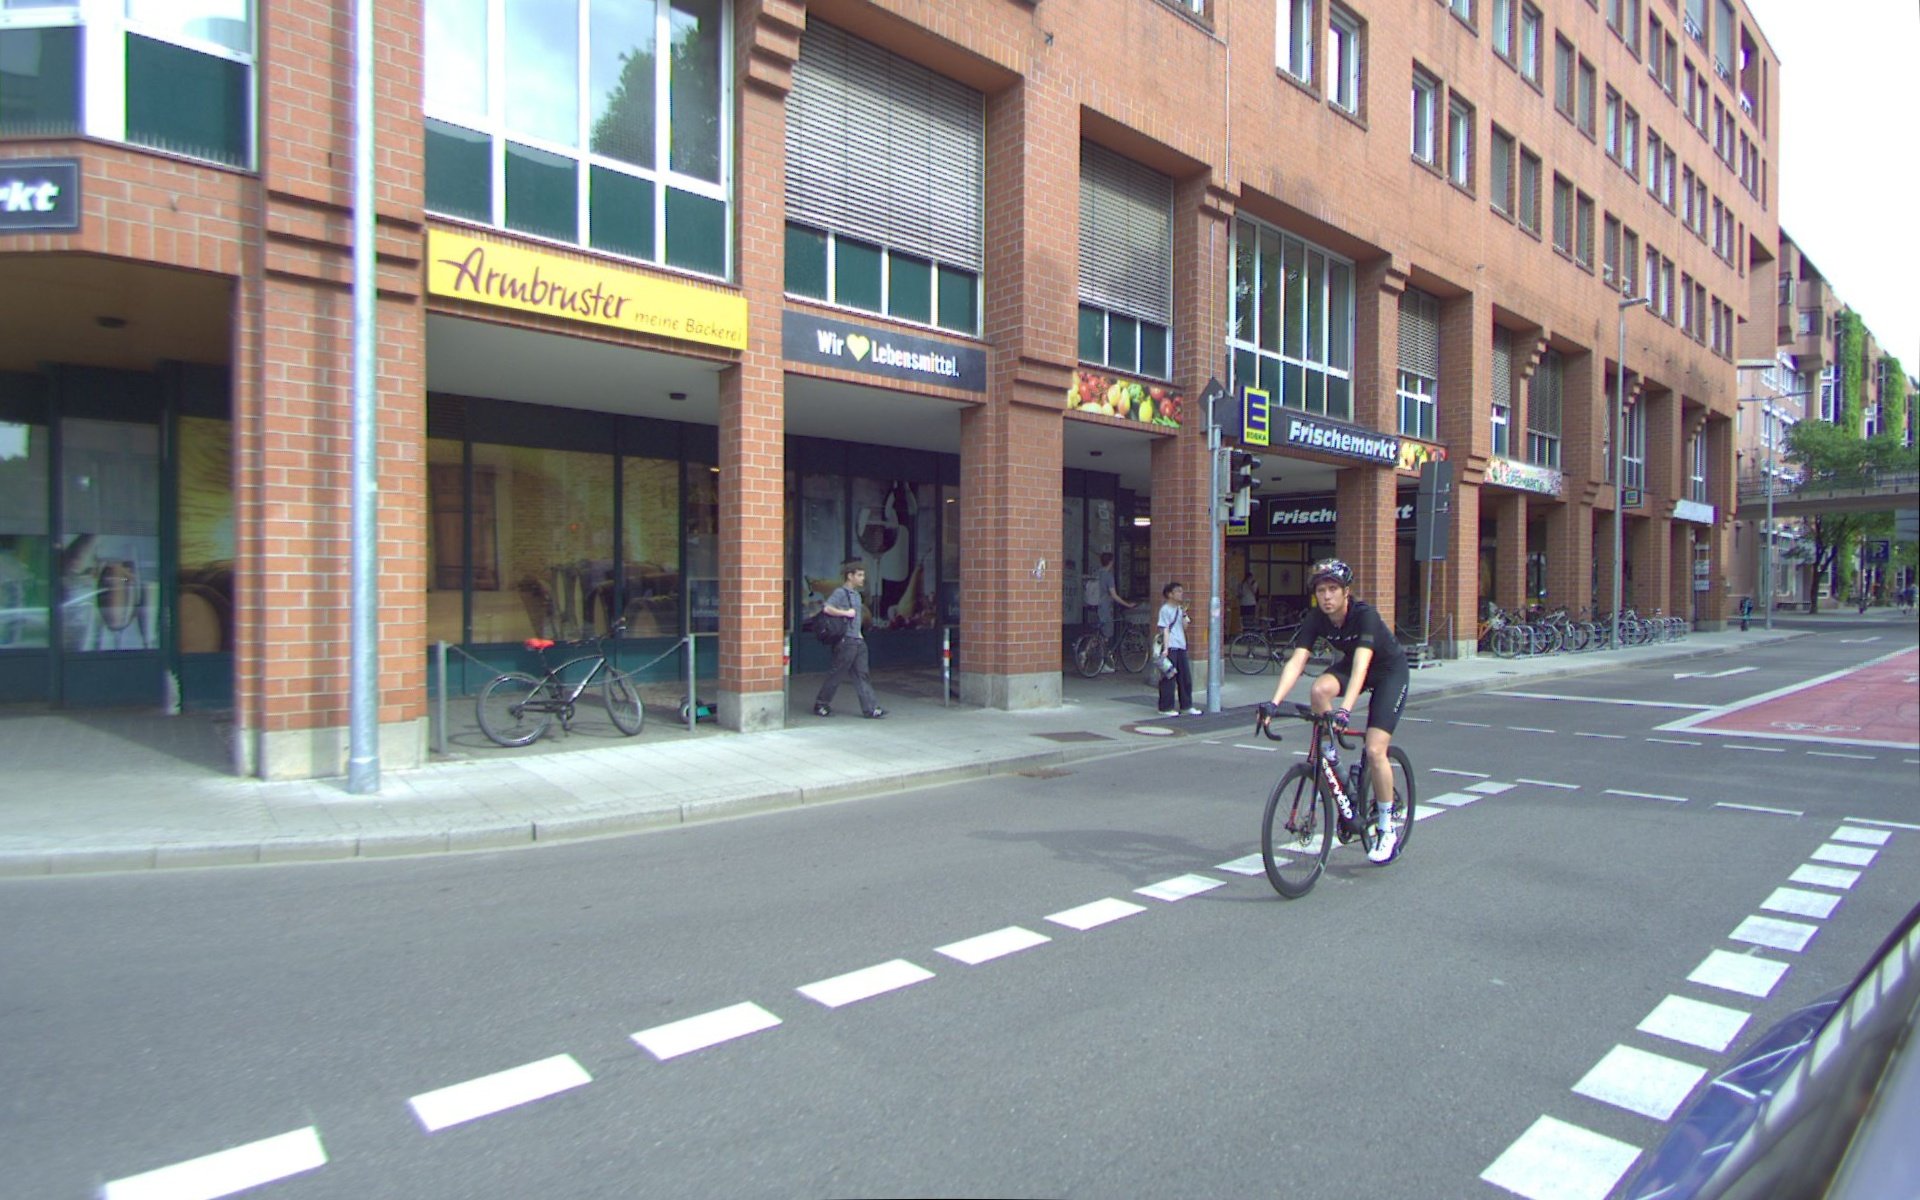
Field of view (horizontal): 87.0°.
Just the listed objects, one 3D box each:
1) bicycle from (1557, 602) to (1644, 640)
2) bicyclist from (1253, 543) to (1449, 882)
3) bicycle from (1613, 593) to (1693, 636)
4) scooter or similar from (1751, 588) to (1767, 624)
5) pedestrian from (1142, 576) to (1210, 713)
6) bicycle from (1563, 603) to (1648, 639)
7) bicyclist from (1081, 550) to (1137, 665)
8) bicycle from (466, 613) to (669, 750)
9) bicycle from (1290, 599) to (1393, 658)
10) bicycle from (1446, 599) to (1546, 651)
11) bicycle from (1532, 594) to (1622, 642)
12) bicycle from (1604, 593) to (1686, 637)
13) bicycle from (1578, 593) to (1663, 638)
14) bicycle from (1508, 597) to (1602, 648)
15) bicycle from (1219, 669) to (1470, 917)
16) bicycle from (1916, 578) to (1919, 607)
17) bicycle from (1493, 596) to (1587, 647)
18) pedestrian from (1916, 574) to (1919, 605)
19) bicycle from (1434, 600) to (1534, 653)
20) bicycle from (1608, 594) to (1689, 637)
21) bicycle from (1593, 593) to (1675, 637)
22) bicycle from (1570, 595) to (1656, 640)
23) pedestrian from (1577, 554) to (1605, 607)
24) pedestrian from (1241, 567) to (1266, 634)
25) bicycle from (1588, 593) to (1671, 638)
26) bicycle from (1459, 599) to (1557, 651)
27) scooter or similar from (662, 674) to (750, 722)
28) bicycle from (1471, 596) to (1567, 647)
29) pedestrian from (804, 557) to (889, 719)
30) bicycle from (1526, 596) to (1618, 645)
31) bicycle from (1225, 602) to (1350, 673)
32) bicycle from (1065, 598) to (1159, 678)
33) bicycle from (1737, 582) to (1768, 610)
[{"bbox_3d":[16.851,0.529,26.673,0.525,0.904,1.858,0,2,-40],"label":"bicycle"},{"bbox_3d":[2.074,0.534,5.359,0.832,1.624,0.612,-1,-1,-41],"label":"bicyclist"},{"bbox_3d":[20.251,0.410,29.616,0.525,1.155,1.858,0,2,-40],"label":"bicycle"},{"bbox_3d":[28.817,0.215,36.511,0.905,1.273,0.272,-1,1,-40],"label":"scooter or similar"},{"bbox_3d":[2.699,0.531,12.648,0.718,1.652,0.408,0,2,-33],"label":"pedestrian"},{"bbox_3d":[17.289,0.552,27.134,0.525,0.881,1.858,0,2,-40],"label":"bicycle"},{"bbox_3d":[2.415,0.105,16.448,0.751,1.800,0.622,2,3,-1],"label":"bicyclist"},{"bbox_3d":[-3.626,0.711,9.412,1.667,1.105,0.567,-1,3,-37],"label":"bicycle"},{"bbox_3d":[7.526,0.557,20.002,1.828,1.097,0.485,1,2,-1],"label":"bicycle"},{"bbox_3d":[11.729,0.529,22.191,0.525,1.053,1.858,0,2,-40],"label":"bicycle"},{"bbox_3d":[15.454,0.428,25.384,0.525,1.125,1.858,0,2,-40],"label":"bicycle"},{"bbox_3d":[19.481,0.407,28.819,0.525,1.155,1.858,0,2,-40],"label":"bicycle"},{"bbox_3d":[18.127,0.415,27.810,0.525,1.155,1.858,0,2,-40],"label":"bicycle"},{"bbox_3d":[14.324,0.513,24.406,0.525,1.125,1.858,0,2,-40],"label":"bicycle"},{"bbox_3d":[2.098,0.935,5.396,1.718,1.013,0.488,-1,-1,-42],"label":"bicycle"},{"bbox_3d":[50.239,-0.360,51.217,0.755,1.456,2.584,0,1,-38],"label":"bicycle"},{"bbox_3d":[13.709,0.482,23.982,0.525,1.125,1.858,0,2,-40],"label":"bicycle"},{"bbox_3d":[53.309,-0.583,55.987,0.601,1.675,0.515,0,1,-40],"label":"pedestrian"},{"bbox_3d":[11.259,0.554,21.793,0.498,1.053,1.858,0,1,-40],"label":"bicycle"},{"bbox_3d":[19.858,0.438,29.210,0.525,1.155,1.858,0,2,-40],"label":"bicycle"},{"bbox_3d":[18.966,0.406,28.512,0.525,1.155,1.858,0,2,-40],"label":"bicycle"},{"bbox_3d":[17.705,0.457,27.474,0.525,1.155,1.858,0,2,-40],"label":"bicycle"},{"bbox_3d":[21.572,-0.674,34.589,0.767,1.799,0.614,0,1,-40],"label":"pedestrian"},{"bbox_3d":[7.332,0.014,25.273,0.522,1.660,0.385,0,1,-41],"label":"pedestrian"},{"bbox_3d":[18.578,0.412,28.116,0.525,1.155,1.858,0,2,-40],"label":"bicycle"},{"bbox_3d":[12.236,0.533,22.664,0.525,1.053,1.858,0,2,-40],"label":"bicycle"},{"bbox_3d":[-2.670,1.028,10.679,0.876,0.424,0.263,0,1,-43],"label":"scooter or similar"},{"bbox_3d":[12.740,0.468,23.108,0.525,1.053,1.858,0,2,-40],"label":"bicycle"},{"bbox_3d":[-1.259,0.386,11.235,0.686,1.717,0.646,-1,3,-43],"label":"pedestrian"},{"bbox_3d":[15.015,0.481,24.875,0.525,1.125,1.858,0,2,-40],"label":"bicycle"},{"bbox_3d":[5.369,0.605,16.658,1.828,1.097,0.630,1,2,-1],"label":"bicycle"},{"bbox_3d":[2.455,0.572,16.189,0.627,1.096,1.725,6,6,40],"label":"bicycle"},{"bbox_3d":[41.382,-0.221,52.815,2.928,1.407,0.746,-1,1,-41],"label":"bicycle"}]
